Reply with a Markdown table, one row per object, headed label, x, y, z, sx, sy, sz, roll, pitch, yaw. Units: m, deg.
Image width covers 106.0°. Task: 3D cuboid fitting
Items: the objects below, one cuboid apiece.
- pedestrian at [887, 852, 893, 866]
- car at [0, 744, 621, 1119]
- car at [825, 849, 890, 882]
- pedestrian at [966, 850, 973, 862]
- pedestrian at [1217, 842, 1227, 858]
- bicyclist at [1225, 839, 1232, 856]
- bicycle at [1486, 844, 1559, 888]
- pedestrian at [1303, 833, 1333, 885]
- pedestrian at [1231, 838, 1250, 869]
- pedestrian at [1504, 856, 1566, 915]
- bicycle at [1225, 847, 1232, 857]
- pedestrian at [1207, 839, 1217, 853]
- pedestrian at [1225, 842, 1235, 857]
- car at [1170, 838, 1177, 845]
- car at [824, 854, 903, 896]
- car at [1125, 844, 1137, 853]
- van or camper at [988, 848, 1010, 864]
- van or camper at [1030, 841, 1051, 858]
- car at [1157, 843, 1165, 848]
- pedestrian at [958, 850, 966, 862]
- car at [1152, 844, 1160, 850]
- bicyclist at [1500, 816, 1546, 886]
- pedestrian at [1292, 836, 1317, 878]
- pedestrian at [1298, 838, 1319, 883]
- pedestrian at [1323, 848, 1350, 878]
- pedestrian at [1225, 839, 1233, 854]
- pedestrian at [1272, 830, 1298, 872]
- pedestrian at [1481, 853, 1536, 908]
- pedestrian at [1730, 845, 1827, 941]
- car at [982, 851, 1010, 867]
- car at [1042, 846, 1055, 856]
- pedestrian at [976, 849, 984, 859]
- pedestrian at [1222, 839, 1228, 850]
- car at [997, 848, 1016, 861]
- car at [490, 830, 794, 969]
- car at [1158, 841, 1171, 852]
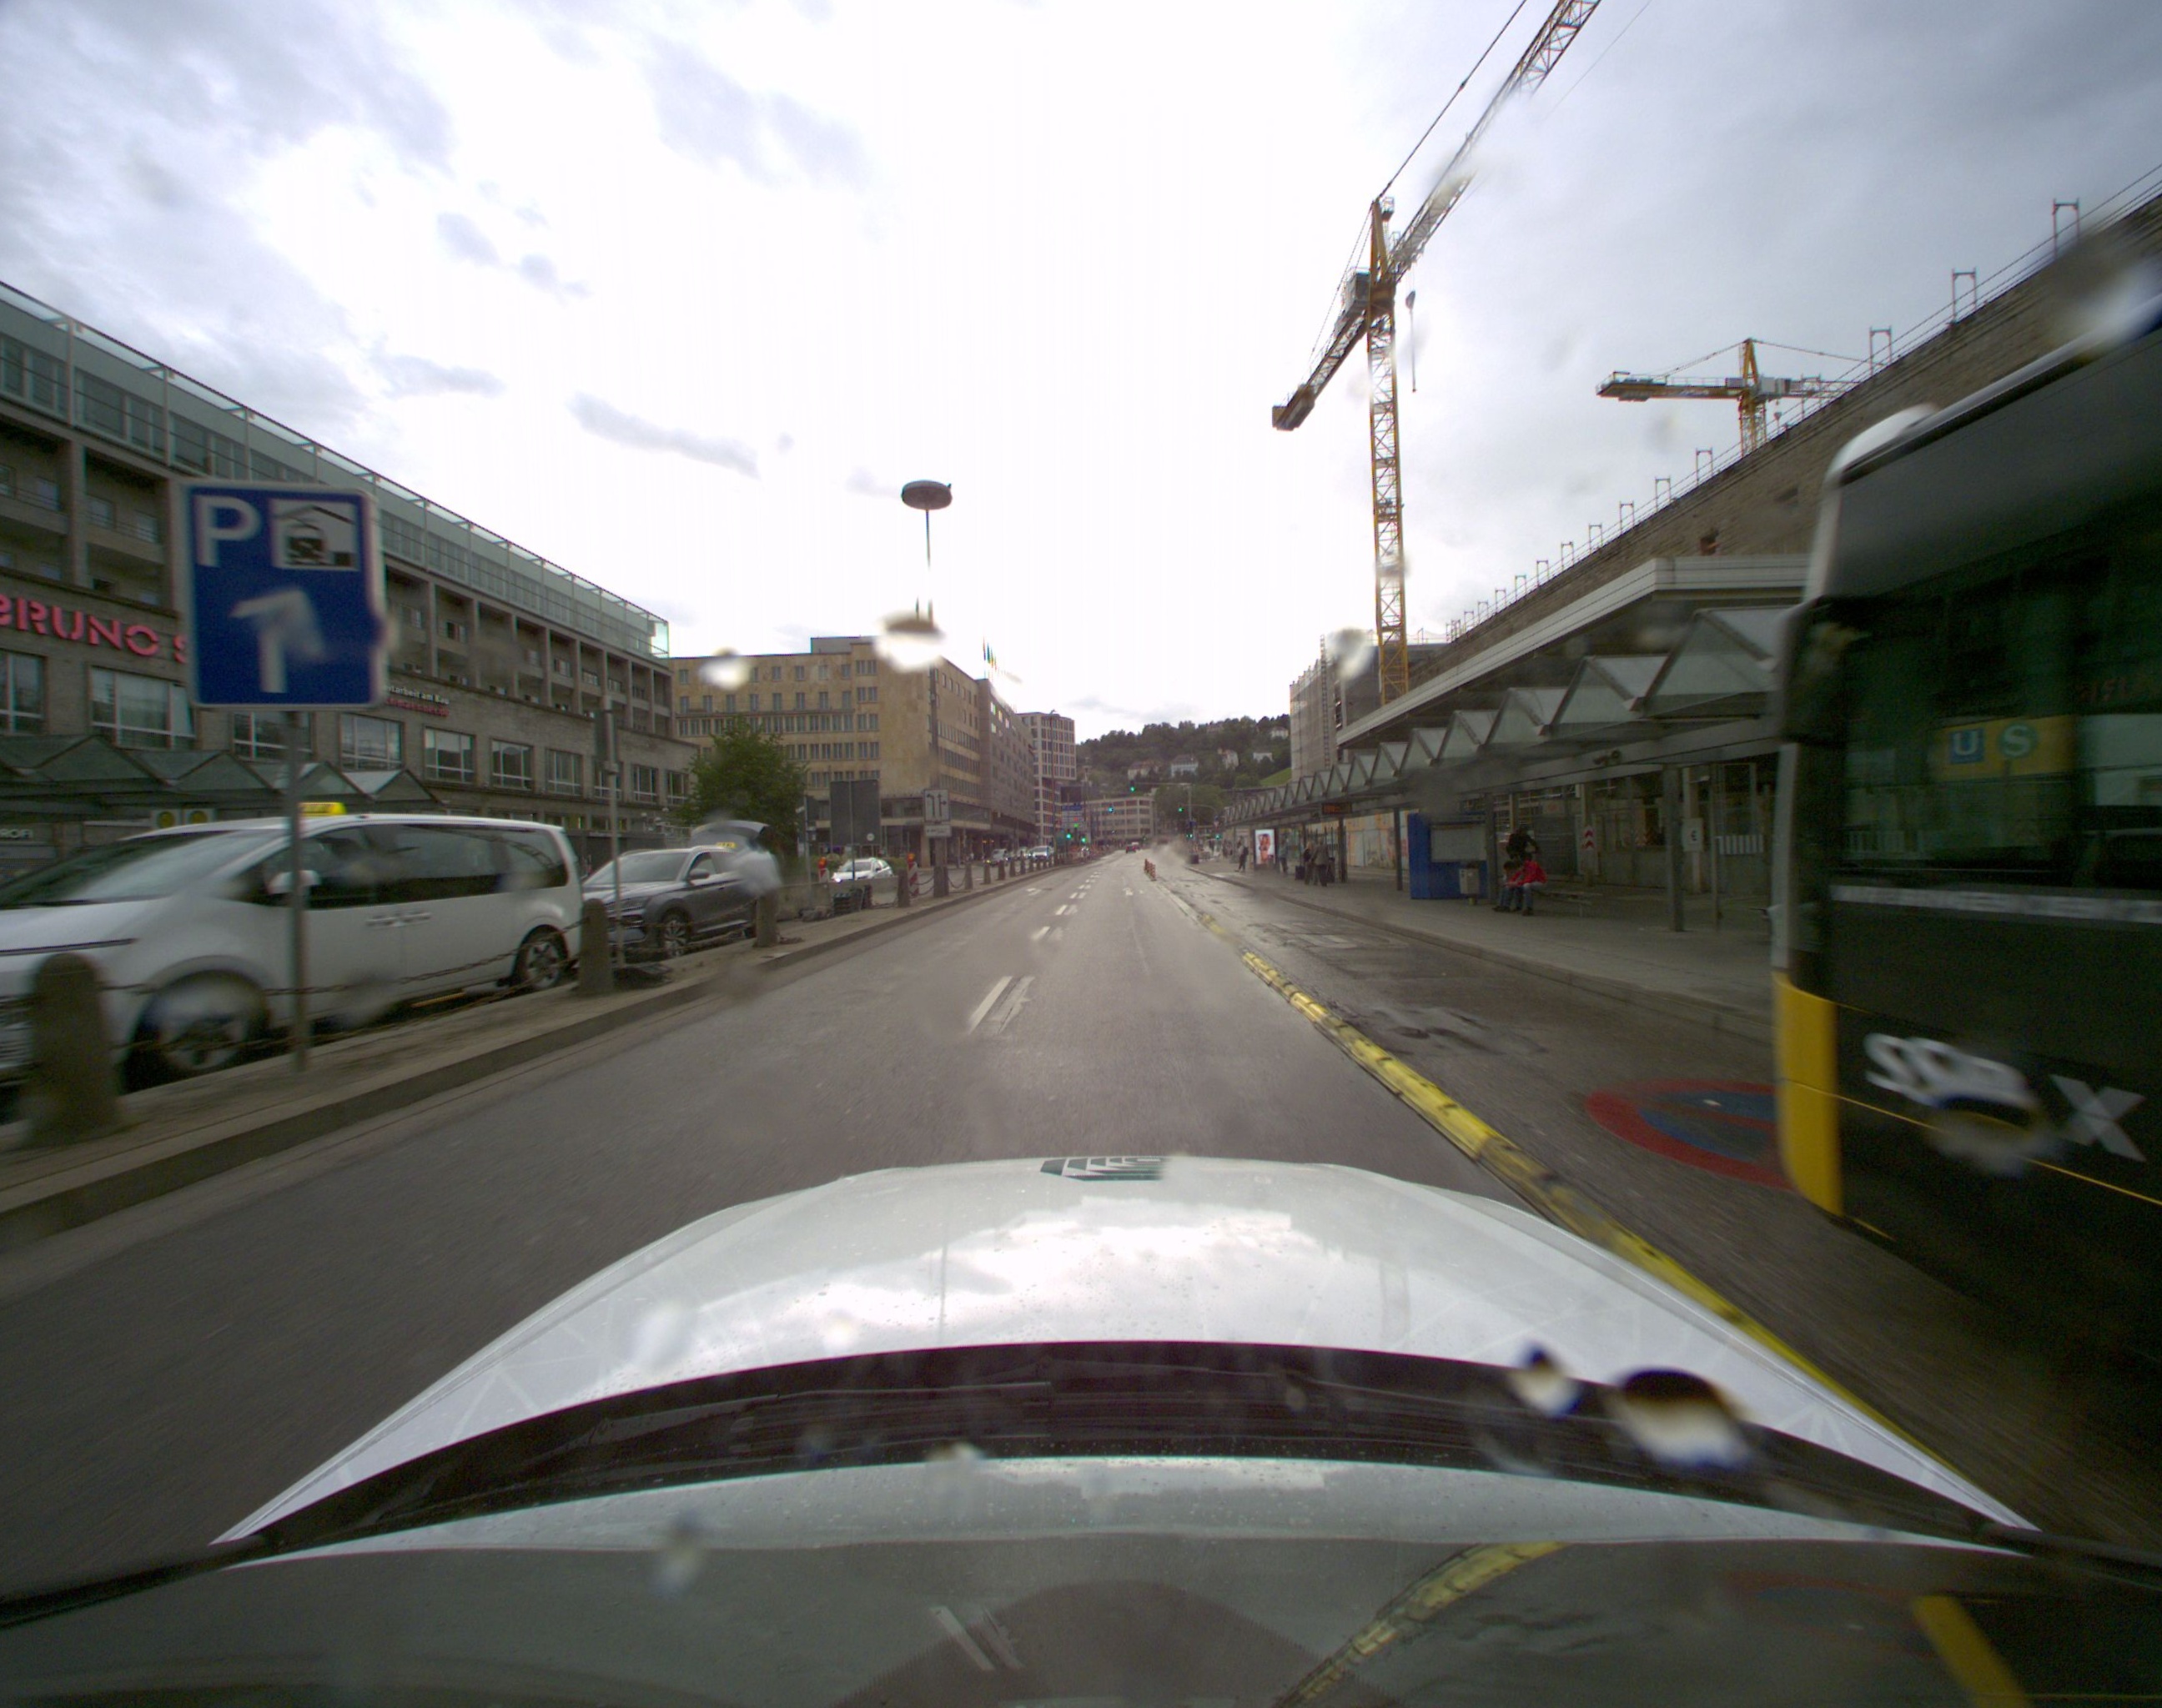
| label | x | y | z | sx | sy | sz | roll | pitch | yaw |
| --- | --- | --- | --- | --- | --- | --- | --- | --- | --- |
| pedestrian | -23.176 | 0.583 | 98.830 | 0.696 | 1.644 | 0.647 | -2 | 0 | -15 |
| car | -6.961 | 0.459 | 7.544 | 1.986 | 2.178 | 5.547 | -2 | 0 | 2 |
| car | -12.108 | 0.579 | 44.438 | 1.955 | 1.564 | 4.837 | -4 | 1 | 2 |
| pedestrian | -14.593 | 0.298 | 106.574 | 0.717 | 1.557 | 0.896 | -2 | 0 | 6 |
| pedestrian | 15.362 | -0.439 | 88.923 | 0.787 | 1.608 | 0.841 | -2 | 0 | 33 |
| bicyclist | 15.538 | -0.688 | 85.998 | 0.699 | 1.845 | 0.970 | -1 | 0 | 9 |
| bicycle | 12.825 | 0.314 | 23.738 | 0.812 | 1.198 | 2.406 | -2 | 0 | 0 |
| pedestrian | 7.974 | 0.166 | 27.407 | 0.759 | 1.693 | 0.822 | -2 | 0 | 2 |
| pedestrian | 8.765 | -0.019 | 44.779 | 0.705 | 1.679 | 0.717 | -2 | 0 | -25 |
| pedestrian | 8.641 | 0.594 | 15.529 | 0.724 | 1.065 | 0.809 | -2 | 0 | 2 |
| bicycle | 15.550 | -0.240 | 86.020 | 0.703 | 1.049 | 1.811 | -1 | 1 | 9 |
| pedestrian | 17.395 | -1.072 | 108.234 | 0.937 | 1.841 | 0.953 | -2 | 0 | 34 |
| pedestrian | 16.250 | -0.443 | 88.745 | 0.787 | 1.608 | 0.841 | -2 | 0 | 33 |
| car | 22.438 | -3.057 | 197.582 | 1.767 | 1.639 | 4.006 | -2 | 0 | 5 |
| car | -9.495 | 0.857 | 35.933 | 1.955 | 1.564 | 4.837 | -4 | 1 | 2 |
| car | 9.073 | -0.983 | 148.388 | 1.986 | 1.552 | 4.002 | -2 | 0 | 2 |
| van or camper | -11.130 | 0.278 | 110.878 | 1.985 | 2.013 | 4.971 | -2 | 0 | 4 |
| van or camper | -5.050 | -0.515 | 102.563 | 1.984 | 2.013 | 5.196 | -2 | 0 | 5 |
| car | 21.454 | -2.352 | 218.075 | 1.985 | 1.442 | 4.003 | 0 | 1 | 3 |
| pedestrian | -15.566 | 0.312 | 106.661 | 0.717 | 1.557 | 0.907 | -2 | 0 | 6 |
| car | 18.588 | -1.705 | 200.704 | 1.812 | 1.442 | 4.004 | 0 | 1 | 3 |
| bicyclist | 12.822 | -0.088 | 23.646 | 0.820 | 1.981 | 0.818 | -2 | 0 | 0 |
| pedestrian | 8.903 | 0.128 | 32.474 | 0.805 | 1.660 | 0.805 | 0 | 0 | 2 |
| pedestrian | 8.024 | 0.216 | 28.716 | 0.519 | 1.566 | 0.729 | -2 | 0 | 2 |
| pedestrian | 10.807 | 0.365 | 34.456 | 0.909 | 1.230 | 0.841 | 0 | 1 | 2 |
| pedestrian | 18.654 | -0.914 | 102.737 | 0.858 | 1.841 | 0.800 | -2 | 1 | 14 |
| pedestrian | 10.103 | -0.167 | 40.347 | 0.808 | 2.050 | 0.916 | -1 | 0 | -38 |
| pedestrian | 8.574 | 0.525 | 16.369 | 0.724 | 1.065 | 0.709 | -2 | 0 | 2 |
| pedestrian | 8.971 | 0.486 | 10.496 | 0.662 | 1.186 | 0.666 | -2 | 0 | 2 |
| car | -9.193 | 0.555 | 88.342 | 1.984 | 1.617 | 4.985 | -2 | 0 | 5 |
| car | -5.820 | -0.497 | 144.822 | 1.760 | 1.609 | 4.231 | -2 | 0 | 4 |
| pedestrian | -14.658 | 0.011 | 118.130 | 0.791 | 1.526 | 0.918 | -2 | 0 | 6 |
| pedestrian | 24.063 | -1.590 | 136.022 | 0.940 | 1.841 | 0.870 | -2 | 0 | 10 |
| car | -10.739 | 0.088 | 117.007 | 1.984 | 1.837 | 4.006 | -2 | 0 | 5 |
| car | -6.514 | 0.571 | 12.903 | 1.985 | 1.722 | 4.785 | -2 | 0 | 3 |
| car | 14.617 | -1.285 | 143.114 | 1.985 | 1.706 | 4.003 | -2 | 0 | 3 |
